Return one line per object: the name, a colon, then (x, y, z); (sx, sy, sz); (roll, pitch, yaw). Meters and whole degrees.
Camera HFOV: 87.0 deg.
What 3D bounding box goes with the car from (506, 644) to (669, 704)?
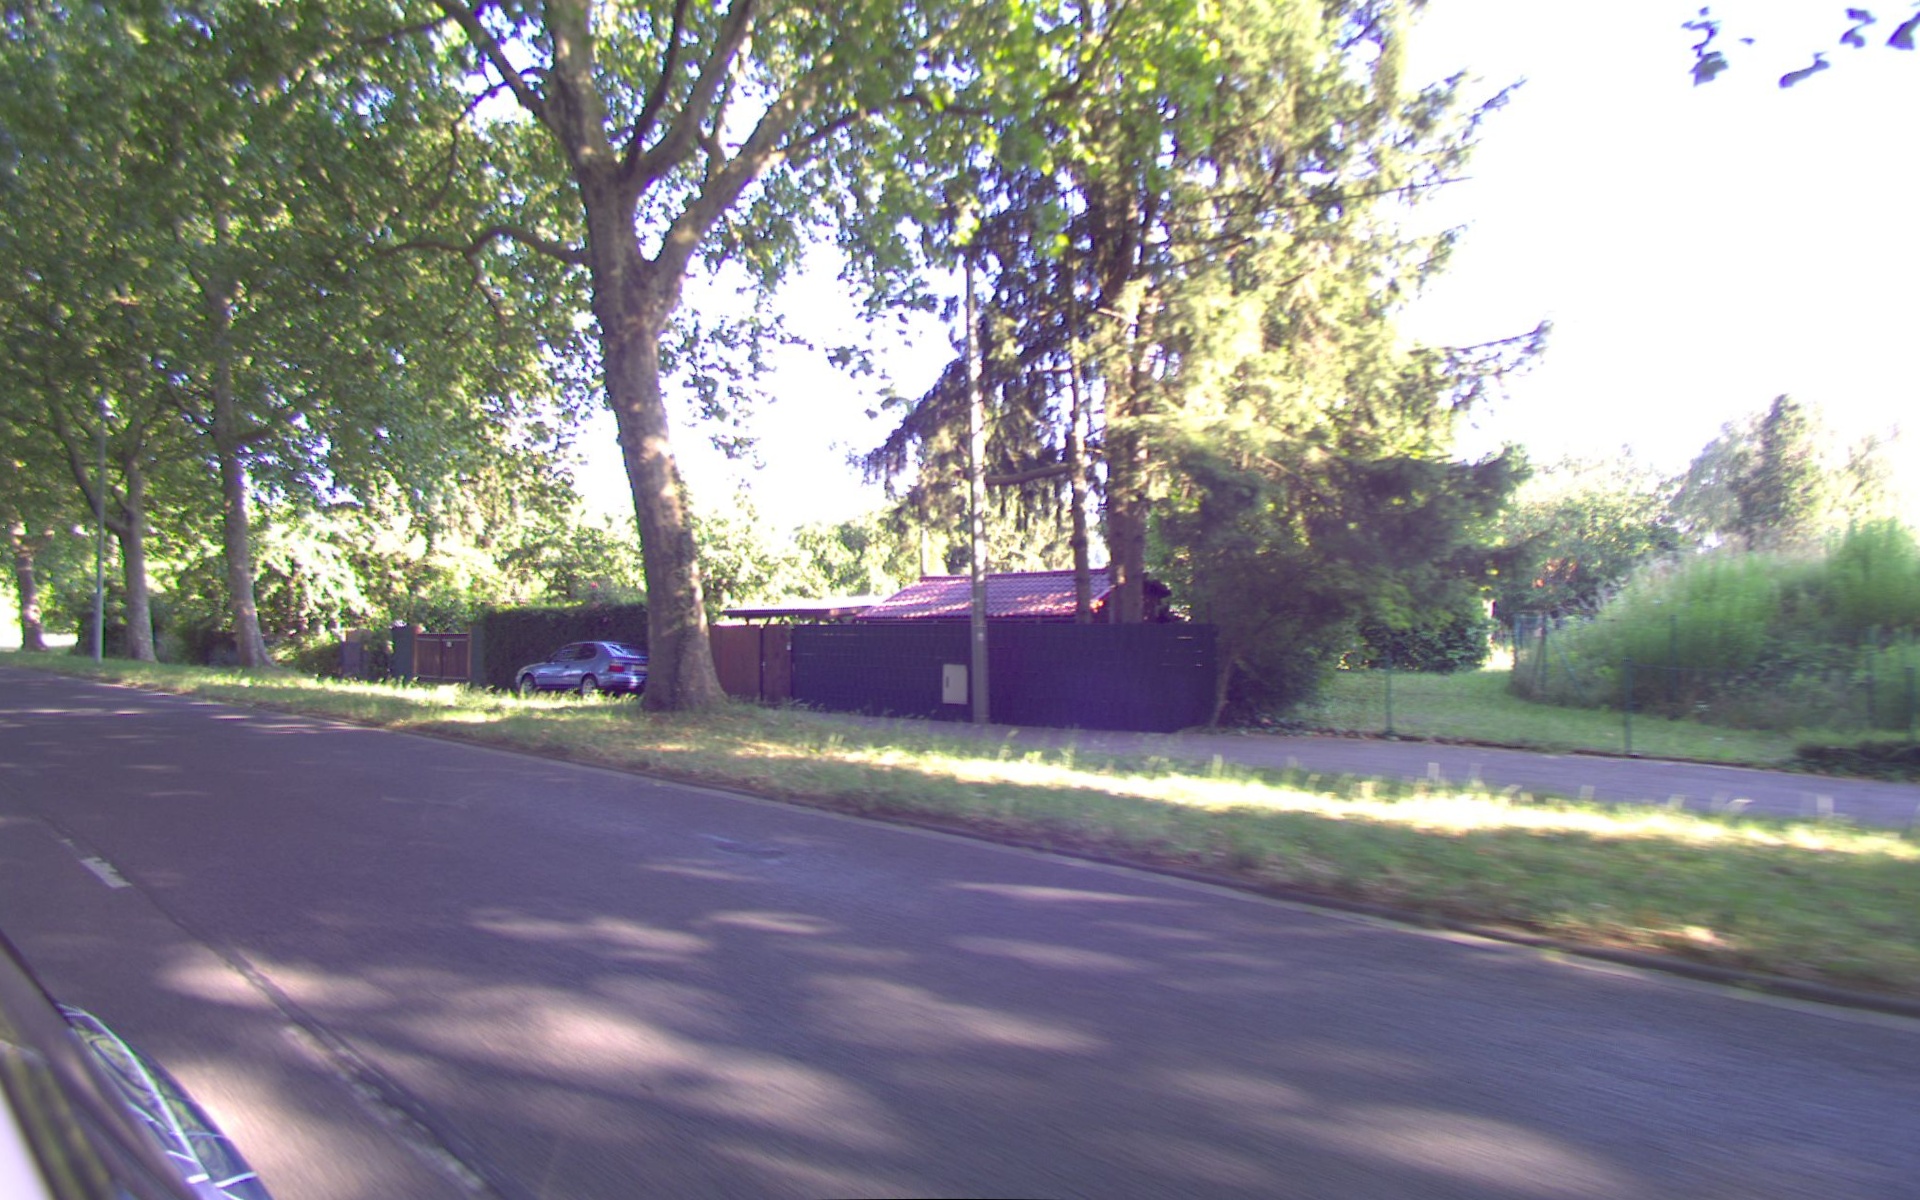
car: (-8.894, 1.719, 24.056); (3.992, 1.314, 1.736); (-2, -3, 36)
